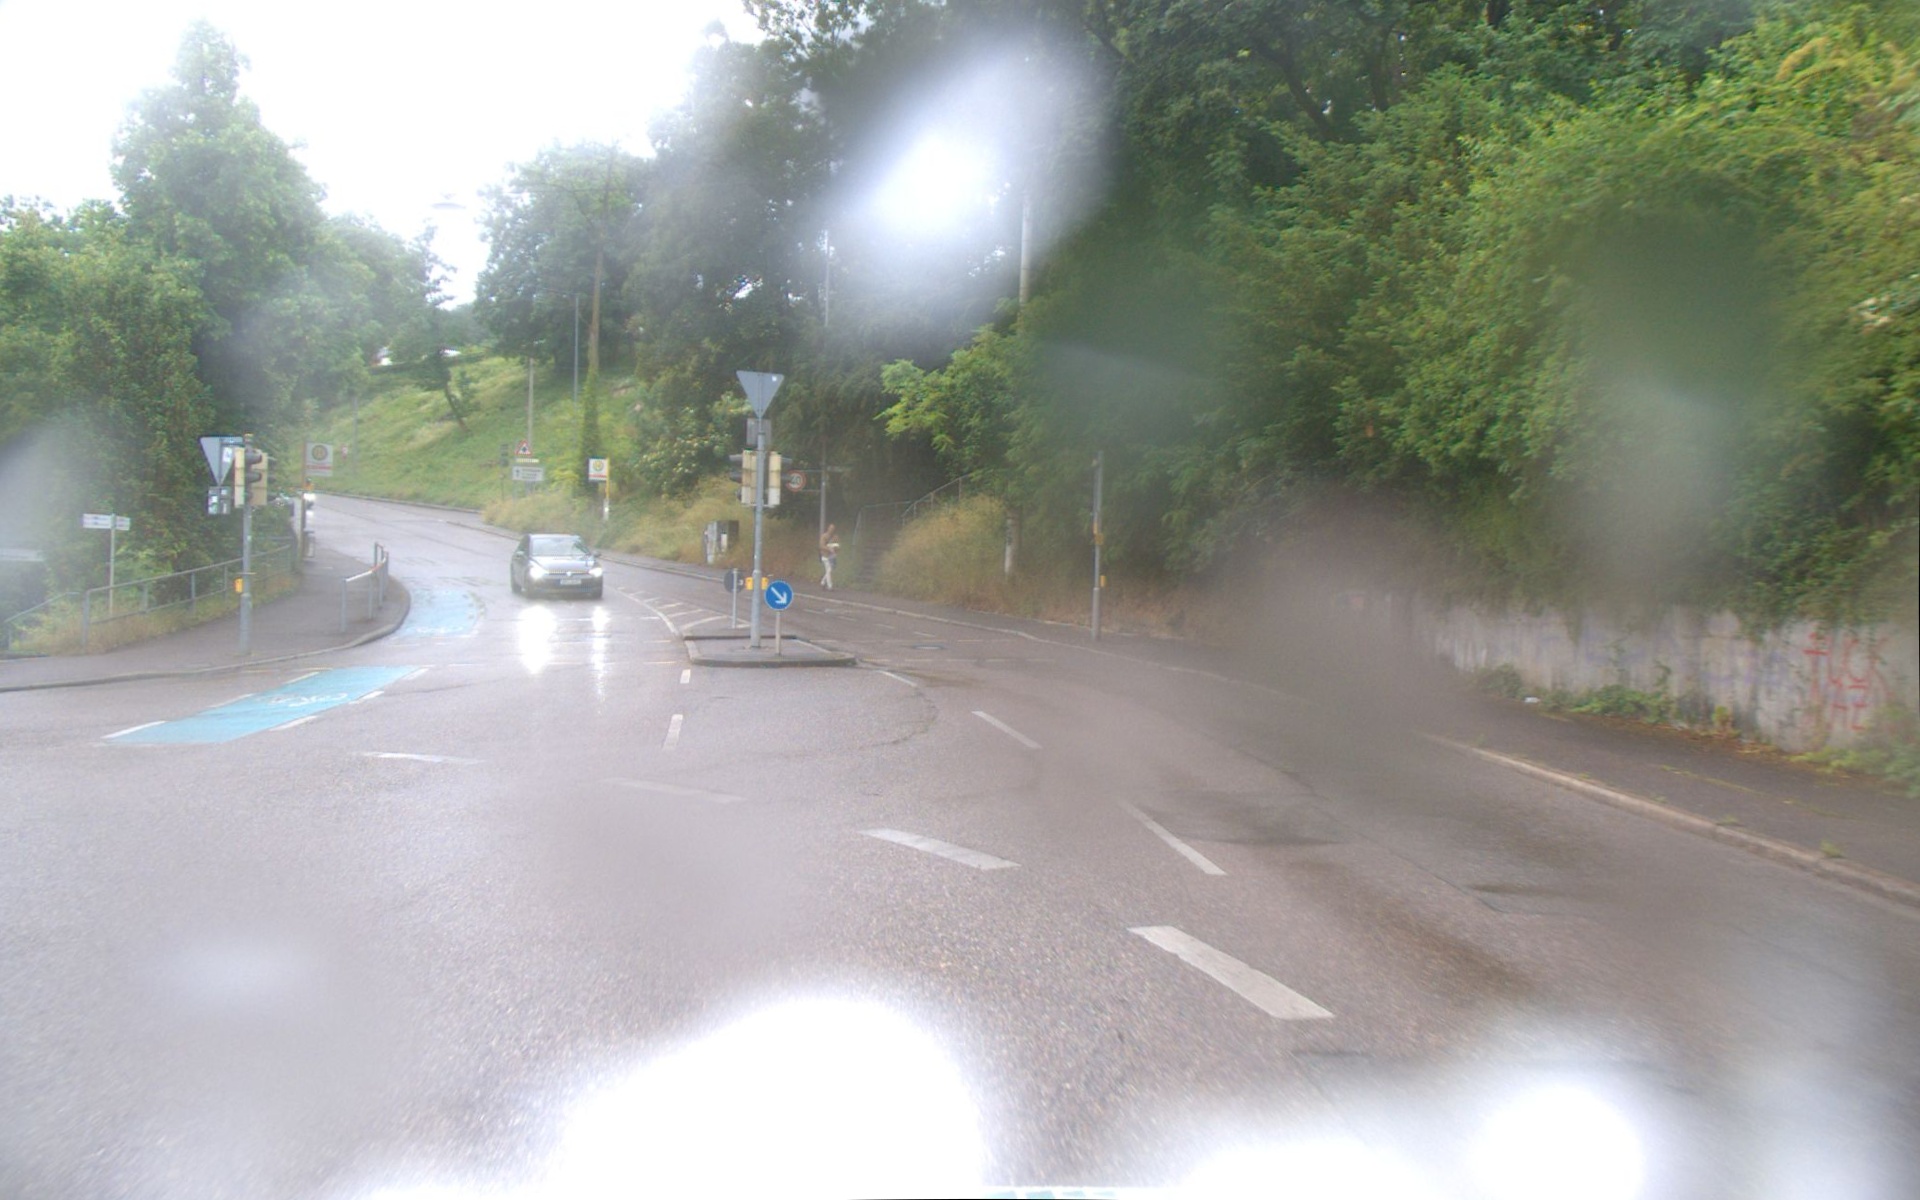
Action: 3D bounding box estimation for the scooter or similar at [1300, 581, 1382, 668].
[{"bbox_3d":[5.122,0.306,22.327,0.590,1.093,1.768,1,2,-3],"label":"scooter or similar"}]

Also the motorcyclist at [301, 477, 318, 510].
[{"bbox_3d":[-38.100,-6.245,96.895,0.872,1.905,1.246,0,4,-24],"label":"motorcyclist"}]

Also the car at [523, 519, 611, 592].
[{"bbox_3d":[-9.606,-1.142,40.188,1.852,1.547,4.673,-1,4,-16],"label":"car"}]

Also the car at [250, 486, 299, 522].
[{"bbox_3d":[-35.540,-4.985,85.684,1.818,1.720,3.960,-2,5,-31],"label":"car"}]

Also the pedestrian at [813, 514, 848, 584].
[{"bbox_3d":[-3.374,-1.331,43.026,0.638,1.783,0.794,1,3,-23],"label":"pedestrian"}]
